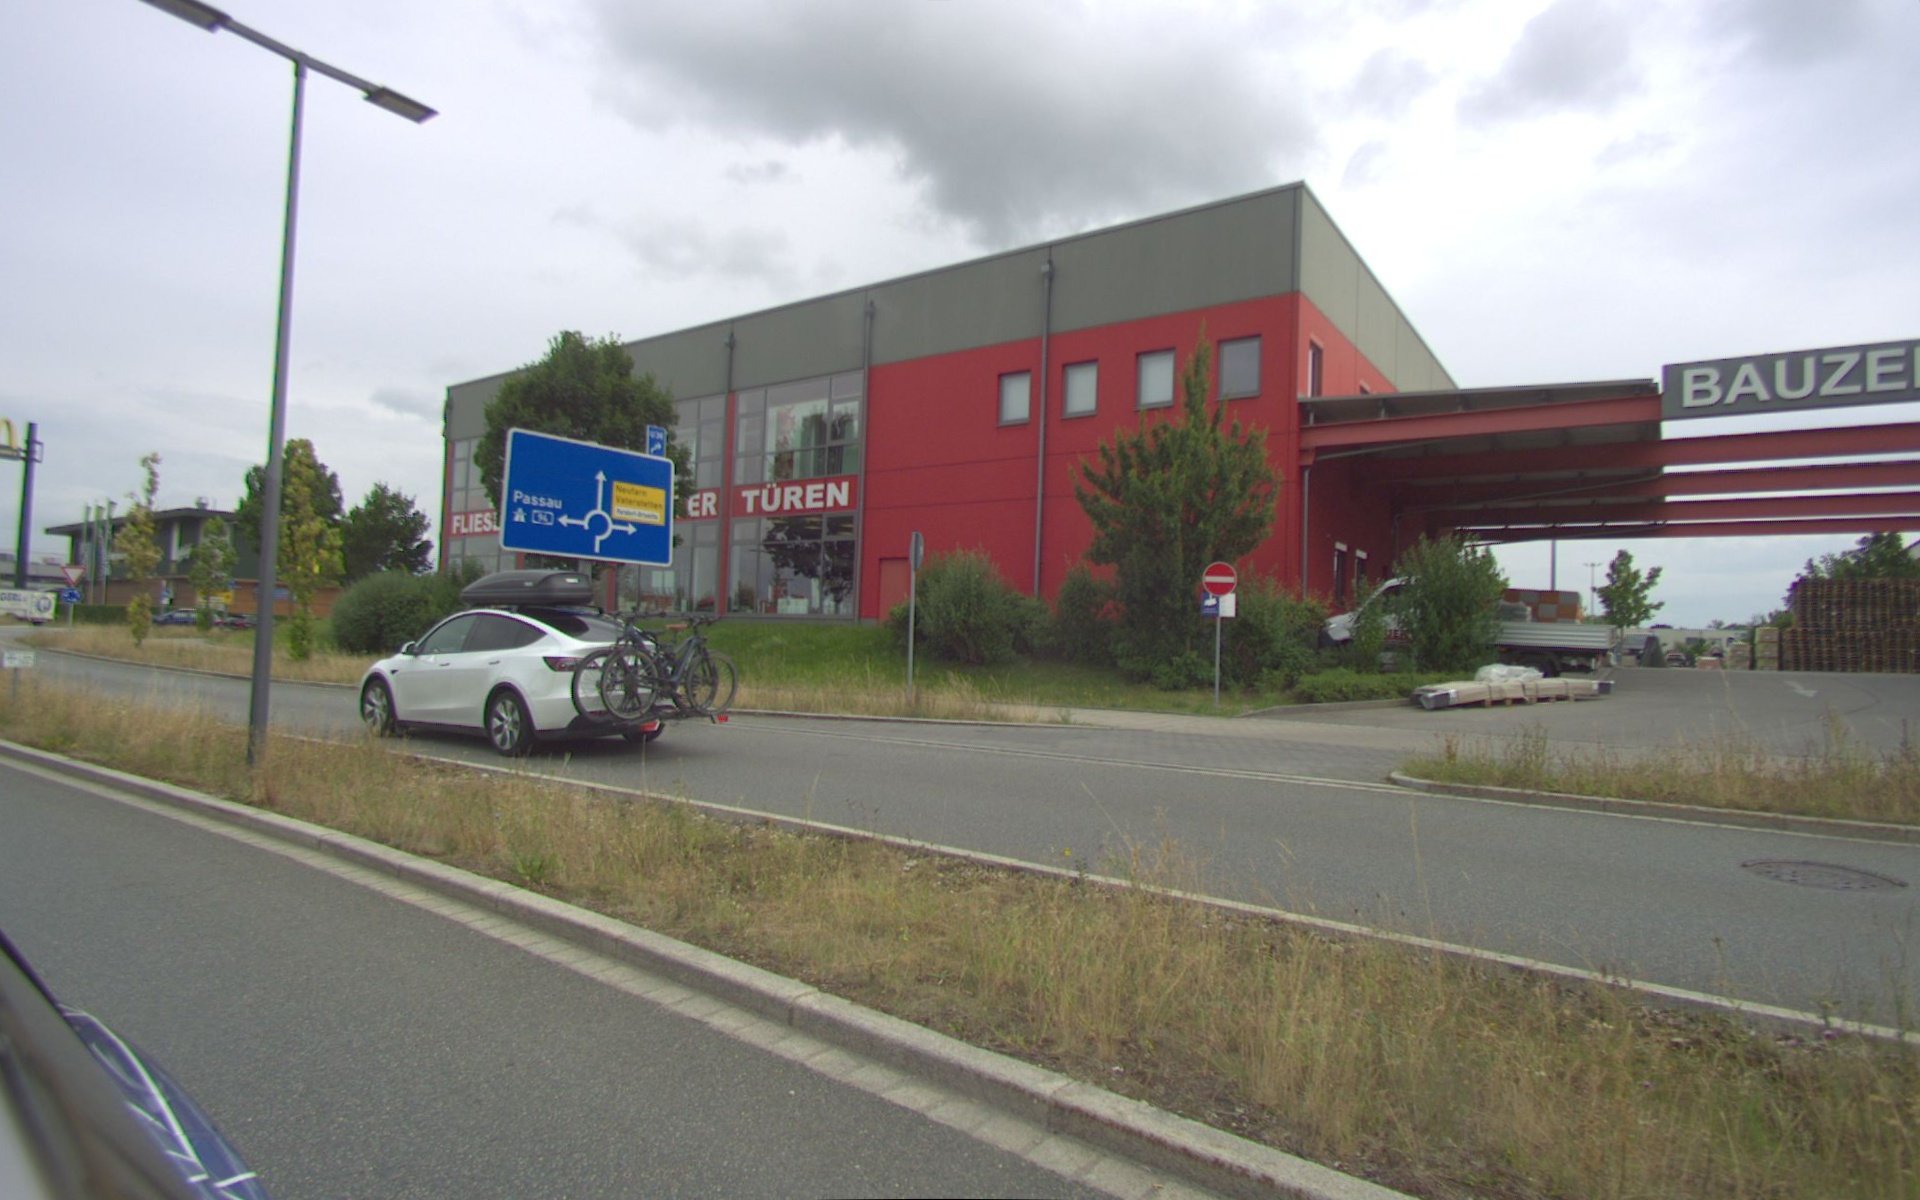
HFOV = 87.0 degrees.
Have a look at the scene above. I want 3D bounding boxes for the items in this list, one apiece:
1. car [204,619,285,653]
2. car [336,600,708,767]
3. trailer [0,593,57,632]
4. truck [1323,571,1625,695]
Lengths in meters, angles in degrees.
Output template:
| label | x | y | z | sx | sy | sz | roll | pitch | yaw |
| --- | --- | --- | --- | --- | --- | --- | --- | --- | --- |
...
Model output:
| label | x | y | z | sx | sy | sz | roll | pitch | yaw |
| --- | --- | --- | --- | --- | --- | --- | --- | --- | --- |
| car | -42.158 | 2.150 | 59.748 | 1.627 | 1.469 | 3.759 | 9 | -6 | 7 |
| car | -5.329 | 0.865 | 12.092 | 4.624 | 1.638 | 1.893 | -1 | -1 | 34 |
| trailer | -56.248 | 0.701 | 59.944 | 4.100 | 2.107 | 1.807 | 2 | -3 | 10 |
| truck | 11.535 | 0.705 | 22.968 | 5.894 | 2.506 | 2.015 | 0 | -2 | 35 |
